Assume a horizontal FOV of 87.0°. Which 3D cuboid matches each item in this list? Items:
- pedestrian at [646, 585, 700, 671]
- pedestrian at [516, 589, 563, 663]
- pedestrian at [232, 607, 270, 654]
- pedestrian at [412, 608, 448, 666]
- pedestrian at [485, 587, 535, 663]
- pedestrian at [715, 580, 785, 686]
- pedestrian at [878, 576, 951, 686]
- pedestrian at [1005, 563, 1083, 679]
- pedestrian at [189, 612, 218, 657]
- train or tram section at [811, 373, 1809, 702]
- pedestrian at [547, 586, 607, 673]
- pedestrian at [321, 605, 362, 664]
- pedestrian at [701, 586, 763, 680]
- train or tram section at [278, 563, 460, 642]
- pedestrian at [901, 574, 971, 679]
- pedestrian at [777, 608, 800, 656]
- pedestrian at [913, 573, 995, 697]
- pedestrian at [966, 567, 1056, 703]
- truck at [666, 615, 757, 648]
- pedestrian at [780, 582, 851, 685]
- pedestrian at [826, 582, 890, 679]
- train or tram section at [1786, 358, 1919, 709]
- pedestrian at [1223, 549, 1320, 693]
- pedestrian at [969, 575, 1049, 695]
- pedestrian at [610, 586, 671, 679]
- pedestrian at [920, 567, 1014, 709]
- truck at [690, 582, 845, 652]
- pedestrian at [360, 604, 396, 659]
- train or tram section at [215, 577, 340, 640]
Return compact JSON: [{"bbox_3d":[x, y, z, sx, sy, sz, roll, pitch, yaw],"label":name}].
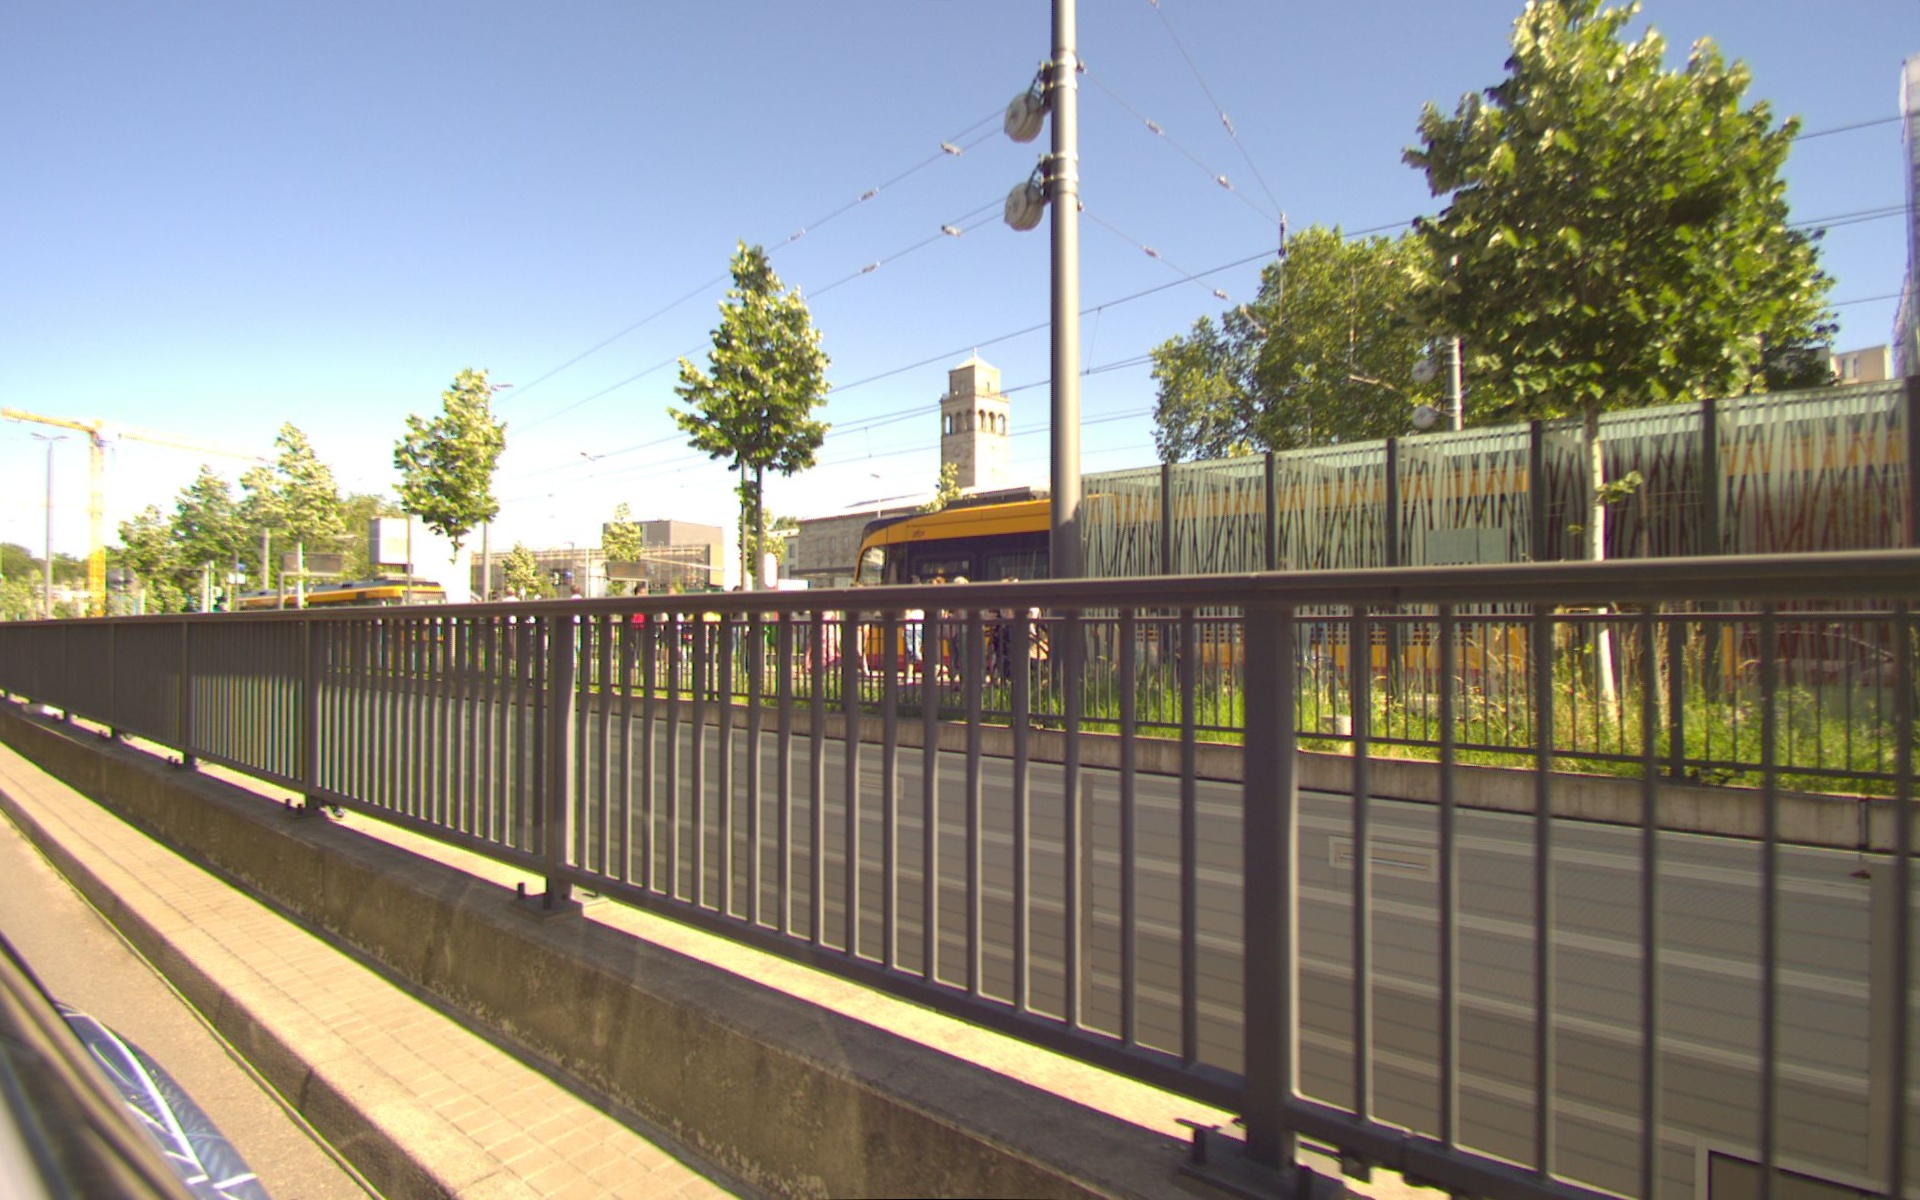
[{"bbox_3d":[-5.886,0.576,20.739,0.861,1.707,0.733,-2,-2,42],"label":"pedestrian"},{"bbox_3d":[-10.633,0.647,25.580,1.074,1.824,0.665,-2,-2,41],"label":"pedestrian"},{"bbox_3d":[-27.721,1.207,39.571,1.187,1.788,0.865,-3,-1,39],"label":"pedestrian"},{"bbox_3d":[-14.155,0.982,27.029,0.588,1.524,0.641,-3,-1,38],"label":"pedestrian"},{"bbox_3d":[-11.123,0.627,25.012,1.030,1.824,0.761,-2,-2,41],"label":"pedestrian"},{"bbox_3d":[-3.367,0.526,16.223,0.861,1.641,0.733,-2,-2,42],"label":"pedestrian"},{"bbox_3d":[-0.700,0.475,15.605,0.861,1.641,0.733,-2,-2,42],"label":"pedestrian"},{"bbox_3d":[1.236,0.308,14.867,0.861,1.641,0.733,-2,-2,42],"label":"pedestrian"},{"bbox_3d":[-30.608,1.398,40.933,0.958,1.788,0.696,-3,-1,39],"label":"pedestrian"},{"bbox_3d":[3.669,-0.462,16.267,15.178,3.304,2.840,-2,0,42],"label":"train or tram section"},{"bbox_3d":[-8.460,0.638,22.337,1.007,1.865,0.877,-2,-2,41],"label":"pedestrian"},{"bbox_3d":[-19.230,1.072,31.473,0.977,1.788,0.783,-3,-1,39],"label":"pedestrian"},{"bbox_3d":[-4.108,0.587,18.200,0.861,1.641,0.733,-2,-2,42],"label":"pedestrian"},{"bbox_3d":[-29.365,0.243,49.630,15.959,3.346,2.818,-2,1,42],"label":"train or tram section"},{"bbox_3d":[-0.393,0.428,16.382,0.861,1.641,0.733,-2,-2,43],"label":"pedestrian"},{"bbox_3d":[-5.785,1.075,34.183,0.590,1.605,0.525,-2,-2,39],"label":"pedestrian"},{"bbox_3d":[-0.081,0.475,14.002,0.861,1.641,0.733,-2,-2,42],"label":"pedestrian"},{"bbox_3d":[0.642,0.436,12.821,0.861,1.641,0.733,-2,-2,42],"label":"pedestrian"},{"bbox_3d":[-22.463,2.810,91.756,7.912,2.814,2.465,1,-2,-43],"label":"truck"},{"bbox_3d":[-2.399,0.551,16.825,0.947,1.641,0.733,-2,-2,42],"label":"pedestrian"},{"bbox_3d":[-1.794,0.534,17.749,0.861,1.641,0.733,-2,-2,42],"label":"pedestrian"},{"bbox_3d":[17.567,-0.905,3.922,22.133,3.304,2.840,-2,0,42],"label":"train or tram section"},{"bbox_3d":[3.717,0.247,12.087,0.861,1.641,0.733,-2,-2,42],"label":"pedestrian"},{"bbox_3d":[0.694,0.487,14.338,0.861,1.641,0.733,-2,-2,42],"label":"pedestrian"},{"bbox_3d":[-5.817,0.579,18.444,0.861,1.641,0.733,-2,-2,42],"label":"pedestrian"},{"bbox_3d":[0.083,0.453,12.295,0.861,1.641,0.733,-2,-2,42],"label":"pedestrian"},{"bbox_3d":[-9.039,0.794,46.856,7.950,2.992,2.690,-2,0,41],"label":"truck"},{"bbox_3d":[-19.212,1.036,33.396,0.825,1.788,0.754,-3,-1,38],"label":"pedestrian"},{"bbox_3d":[-40.199,0.604,59.271,13.067,3.334,2.840,-2,0,42],"label":"train or tram section"}]
